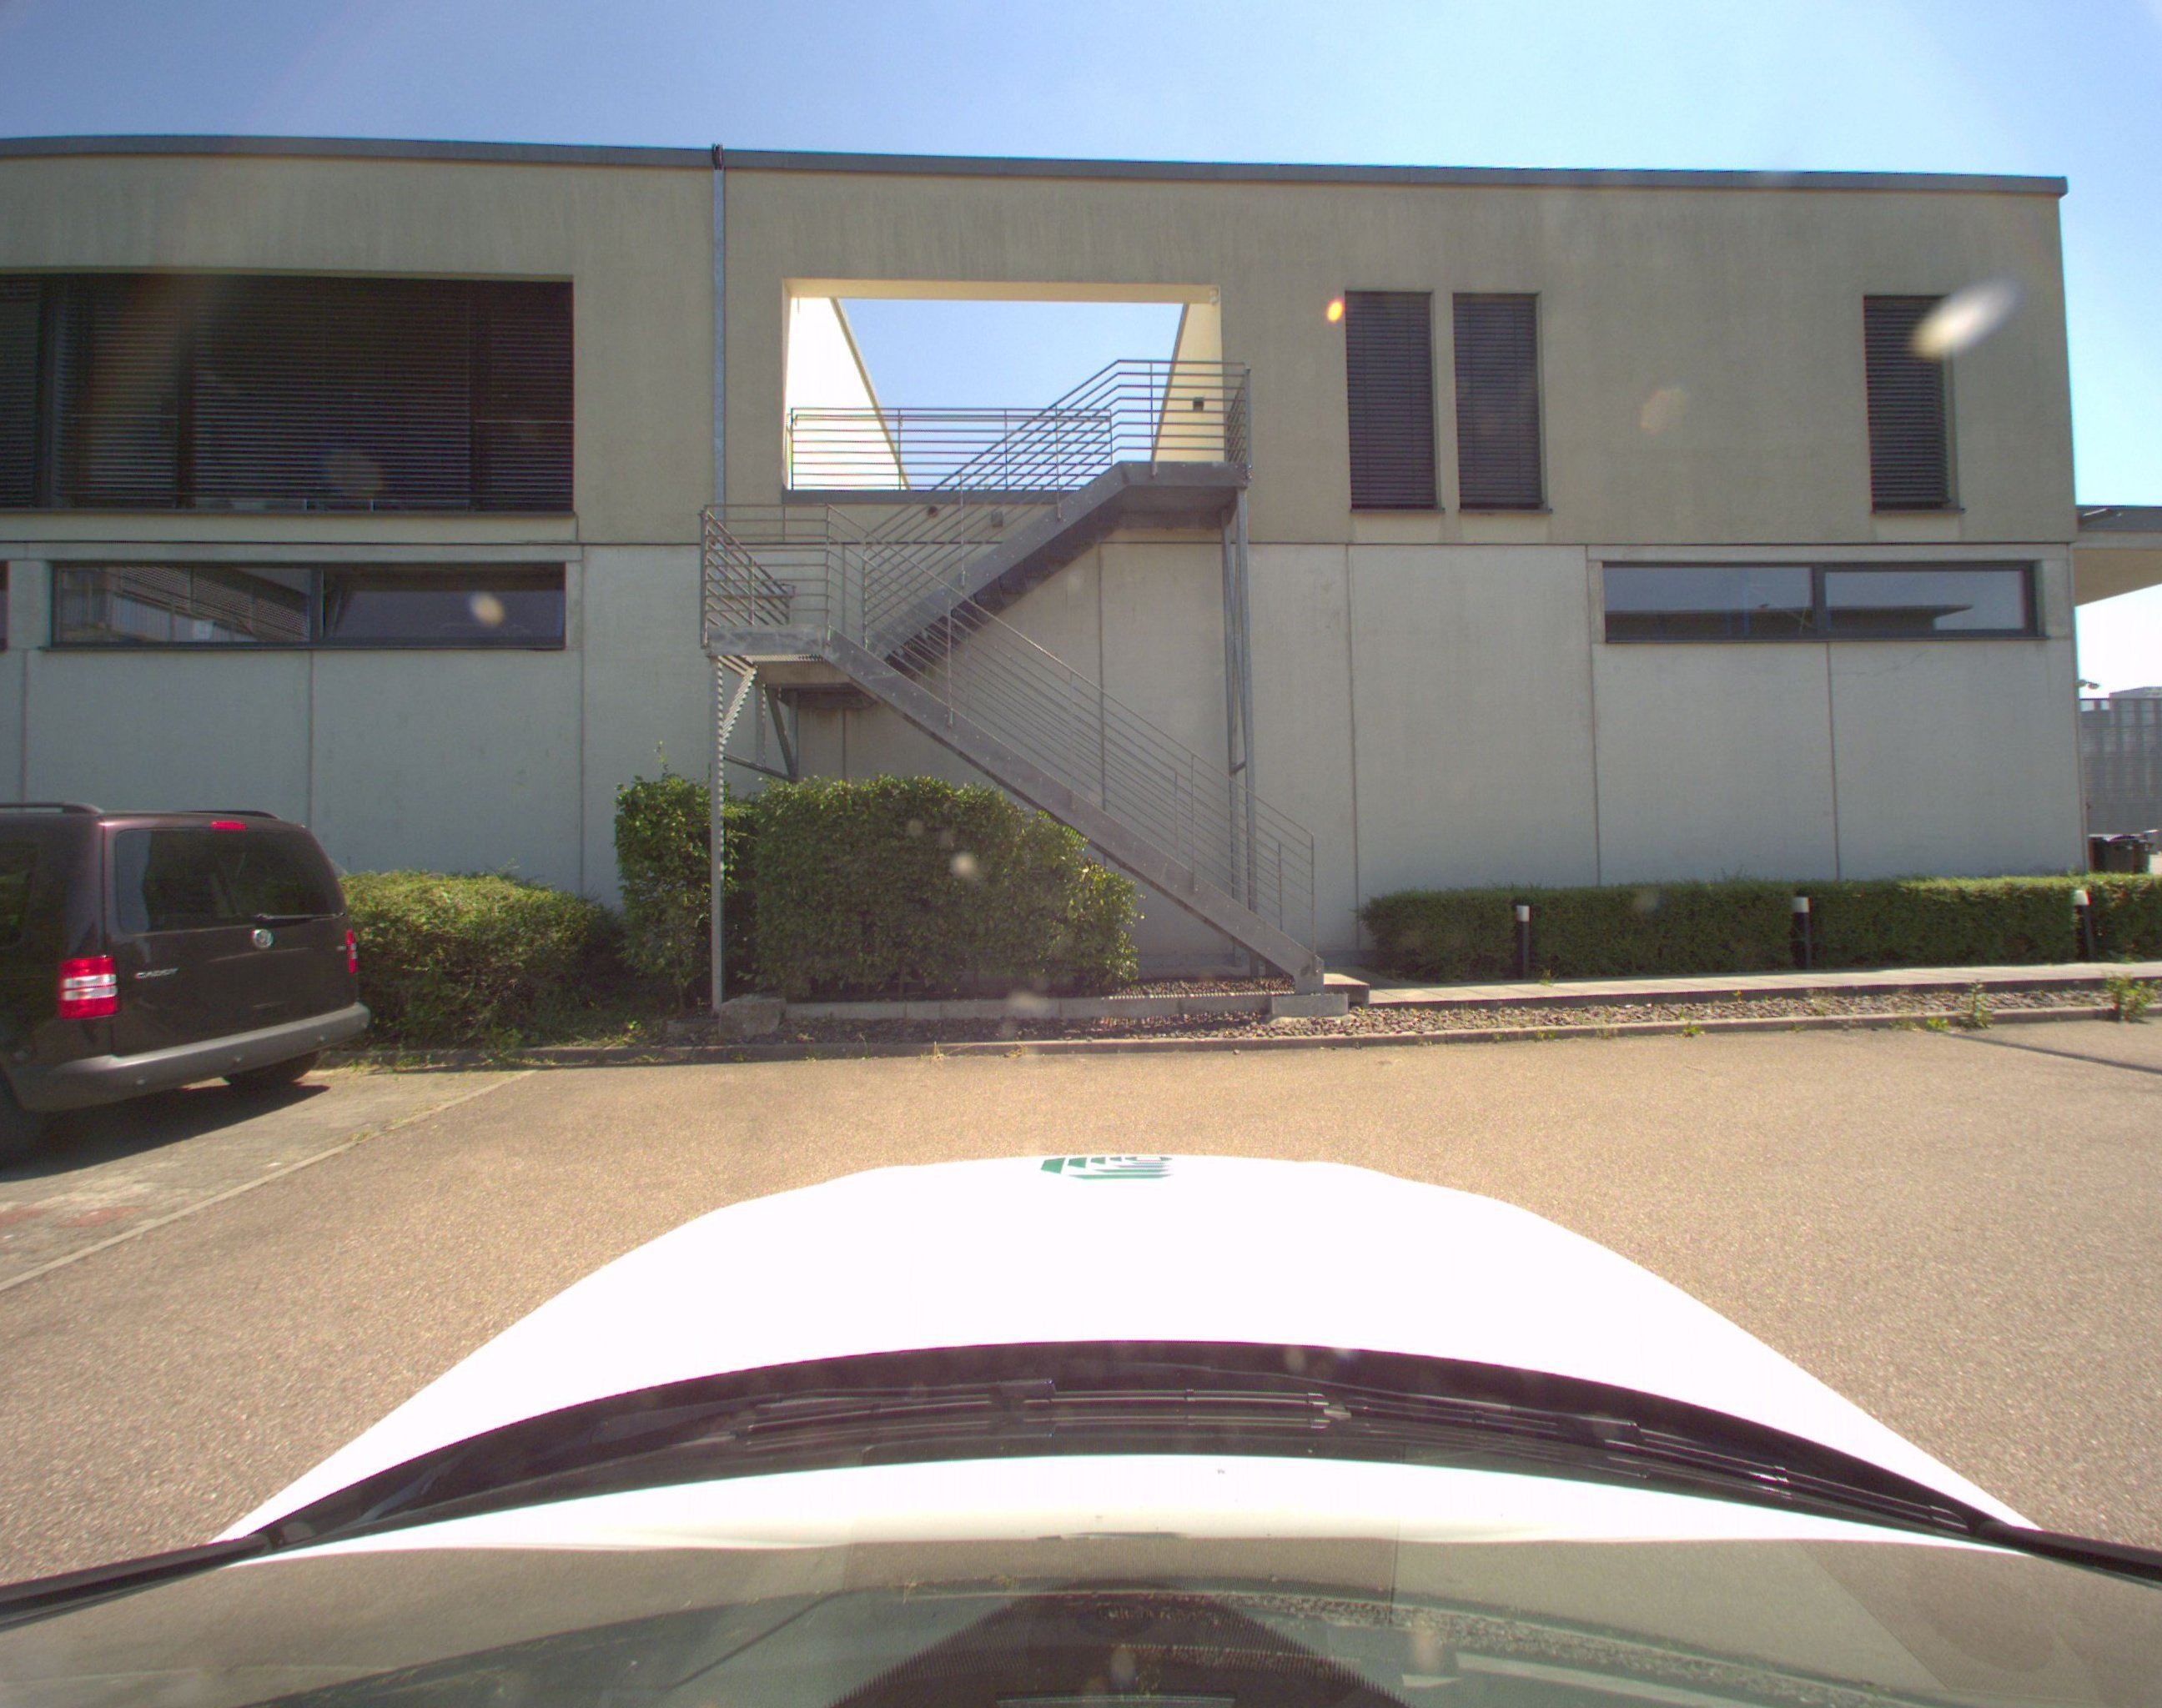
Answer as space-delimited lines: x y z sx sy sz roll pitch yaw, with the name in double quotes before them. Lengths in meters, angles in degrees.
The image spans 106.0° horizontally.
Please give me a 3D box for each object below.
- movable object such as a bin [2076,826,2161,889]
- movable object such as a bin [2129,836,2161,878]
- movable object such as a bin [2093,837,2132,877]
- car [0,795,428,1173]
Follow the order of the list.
"movable object such as a bin" 22.890 0.084 17.939 0.877 1.345 0.814 -2 -1 3
"movable object such as a bin" 26.996 0.069 20.580 0.427 1.036 0.572 -1 -1 -35
"movable object such as a bin" 26.661 0.079 21.057 0.427 1.027 0.575 -1 -1 -35
"car" -6.837 0.679 4.879 4.205 1.860 1.867 -1 0 -3
